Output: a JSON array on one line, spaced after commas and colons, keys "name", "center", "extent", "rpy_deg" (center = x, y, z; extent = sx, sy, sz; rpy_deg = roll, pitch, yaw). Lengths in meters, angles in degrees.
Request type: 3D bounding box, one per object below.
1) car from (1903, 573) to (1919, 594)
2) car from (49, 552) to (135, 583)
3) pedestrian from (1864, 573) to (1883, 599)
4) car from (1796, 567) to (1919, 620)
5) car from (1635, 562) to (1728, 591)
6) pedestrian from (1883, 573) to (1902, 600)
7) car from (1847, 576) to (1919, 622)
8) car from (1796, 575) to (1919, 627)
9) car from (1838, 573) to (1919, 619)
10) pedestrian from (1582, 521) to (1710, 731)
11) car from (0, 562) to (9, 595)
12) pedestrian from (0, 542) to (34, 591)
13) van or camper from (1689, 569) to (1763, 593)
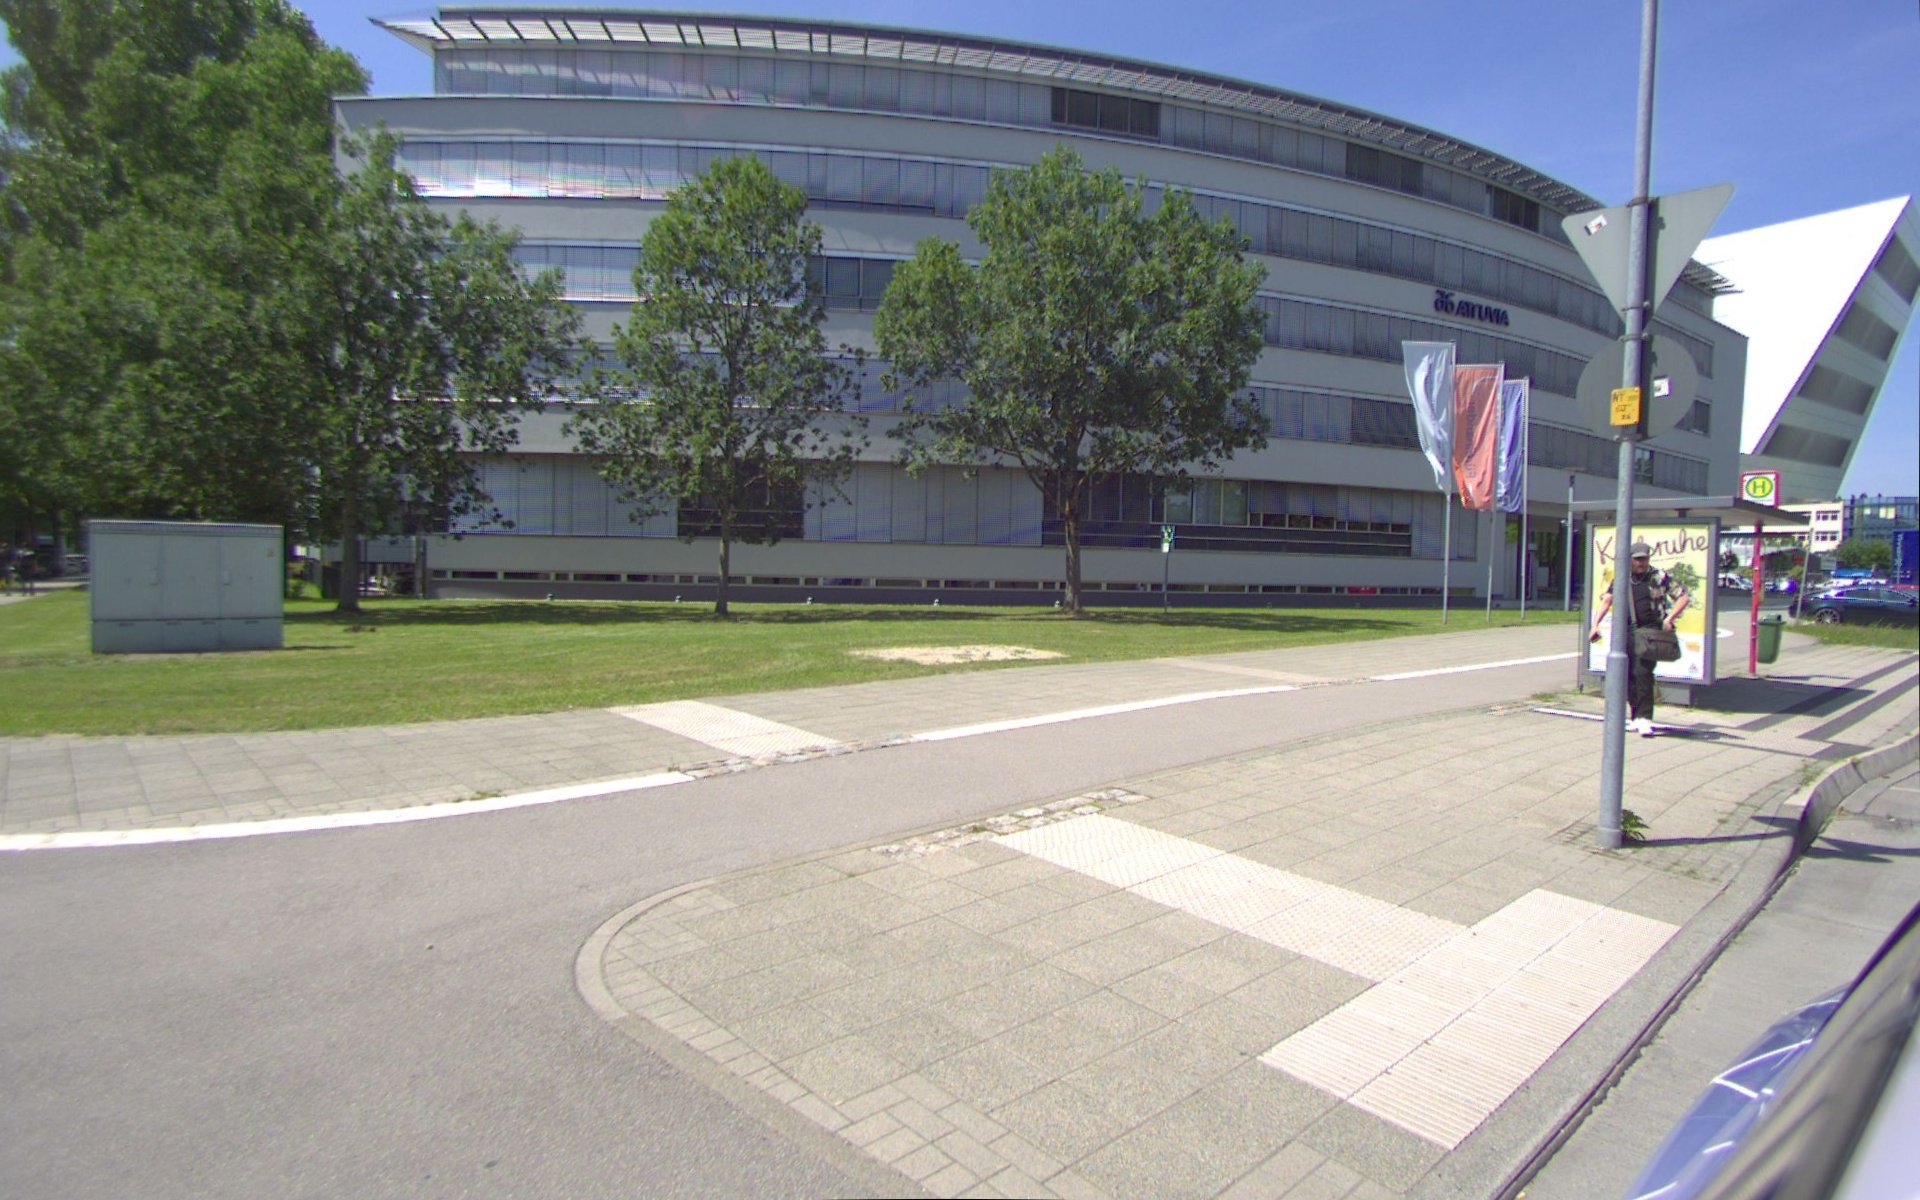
[{"name": "car", "center": [100.013, -1.652, 102.341], "extent": [2.124, 2.176, 6.500], "rpy_deg": [-1, 1, -36]}, {"name": "car", "center": [-57.559, -2.155, 67.168], "extent": [3.919, 2.039, 2.003], "rpy_deg": [0, 1, -7]}, {"name": "pedestrian", "center": [57.704, -0.890, 63.940], "extent": [0.763, 1.681, 0.843], "rpy_deg": [-1, 1, -43]}, {"name": "car", "center": [31.192, -0.255, 34.394], "extent": [1.807, 1.675, 3.996], "rpy_deg": [-1, 3, -40]}, {"name": "car", "center": [69.900, -2.245, 98.171], "extent": [2.211, 2.695, 6.973], "rpy_deg": [-1, 1, -34]}, {"name": "pedestrian", "center": [58.305, -0.856, 63.289], "extent": [0.763, 1.722, 0.843], "rpy_deg": [-1, 1, -43]}, {"name": "car", "center": [33.389, -0.007, 35.021], "extent": [1.626, 1.504, 3.817], "rpy_deg": [-1, 4, -40]}, {"name": "car", "center": [29.630, 0.045, 32.116], "extent": [1.798, 1.449, 4.573], "rpy_deg": [-1, 5, -44]}, {"name": "car", "center": [34.967, -0.116, 36.826], "extent": [1.755, 1.582, 4.330], "rpy_deg": [-1, 4, -41]}, {"name": "pedestrian", "center": [6.389, 0.209, 9.429], "extent": [0.812, 1.844, 0.709], "rpy_deg": [-1, 4, -42]}, {"name": "car", "center": [-45.892, -0.970, 46.149], "extent": [3.621, 1.501, 1.866], "rpy_deg": [-1, 2, -41]}, {"name": "pedestrian", "center": [-31.946, -1.138, 34.277], "extent": [0.631, 1.628, 0.573], "rpy_deg": [0, 1, -11]}, {"name": "van or camper", "center": [77.474, -1.927, 102.407], "extent": [1.671, 2.420, 5.706], "rpy_deg": [-1, 1, -36]}]
